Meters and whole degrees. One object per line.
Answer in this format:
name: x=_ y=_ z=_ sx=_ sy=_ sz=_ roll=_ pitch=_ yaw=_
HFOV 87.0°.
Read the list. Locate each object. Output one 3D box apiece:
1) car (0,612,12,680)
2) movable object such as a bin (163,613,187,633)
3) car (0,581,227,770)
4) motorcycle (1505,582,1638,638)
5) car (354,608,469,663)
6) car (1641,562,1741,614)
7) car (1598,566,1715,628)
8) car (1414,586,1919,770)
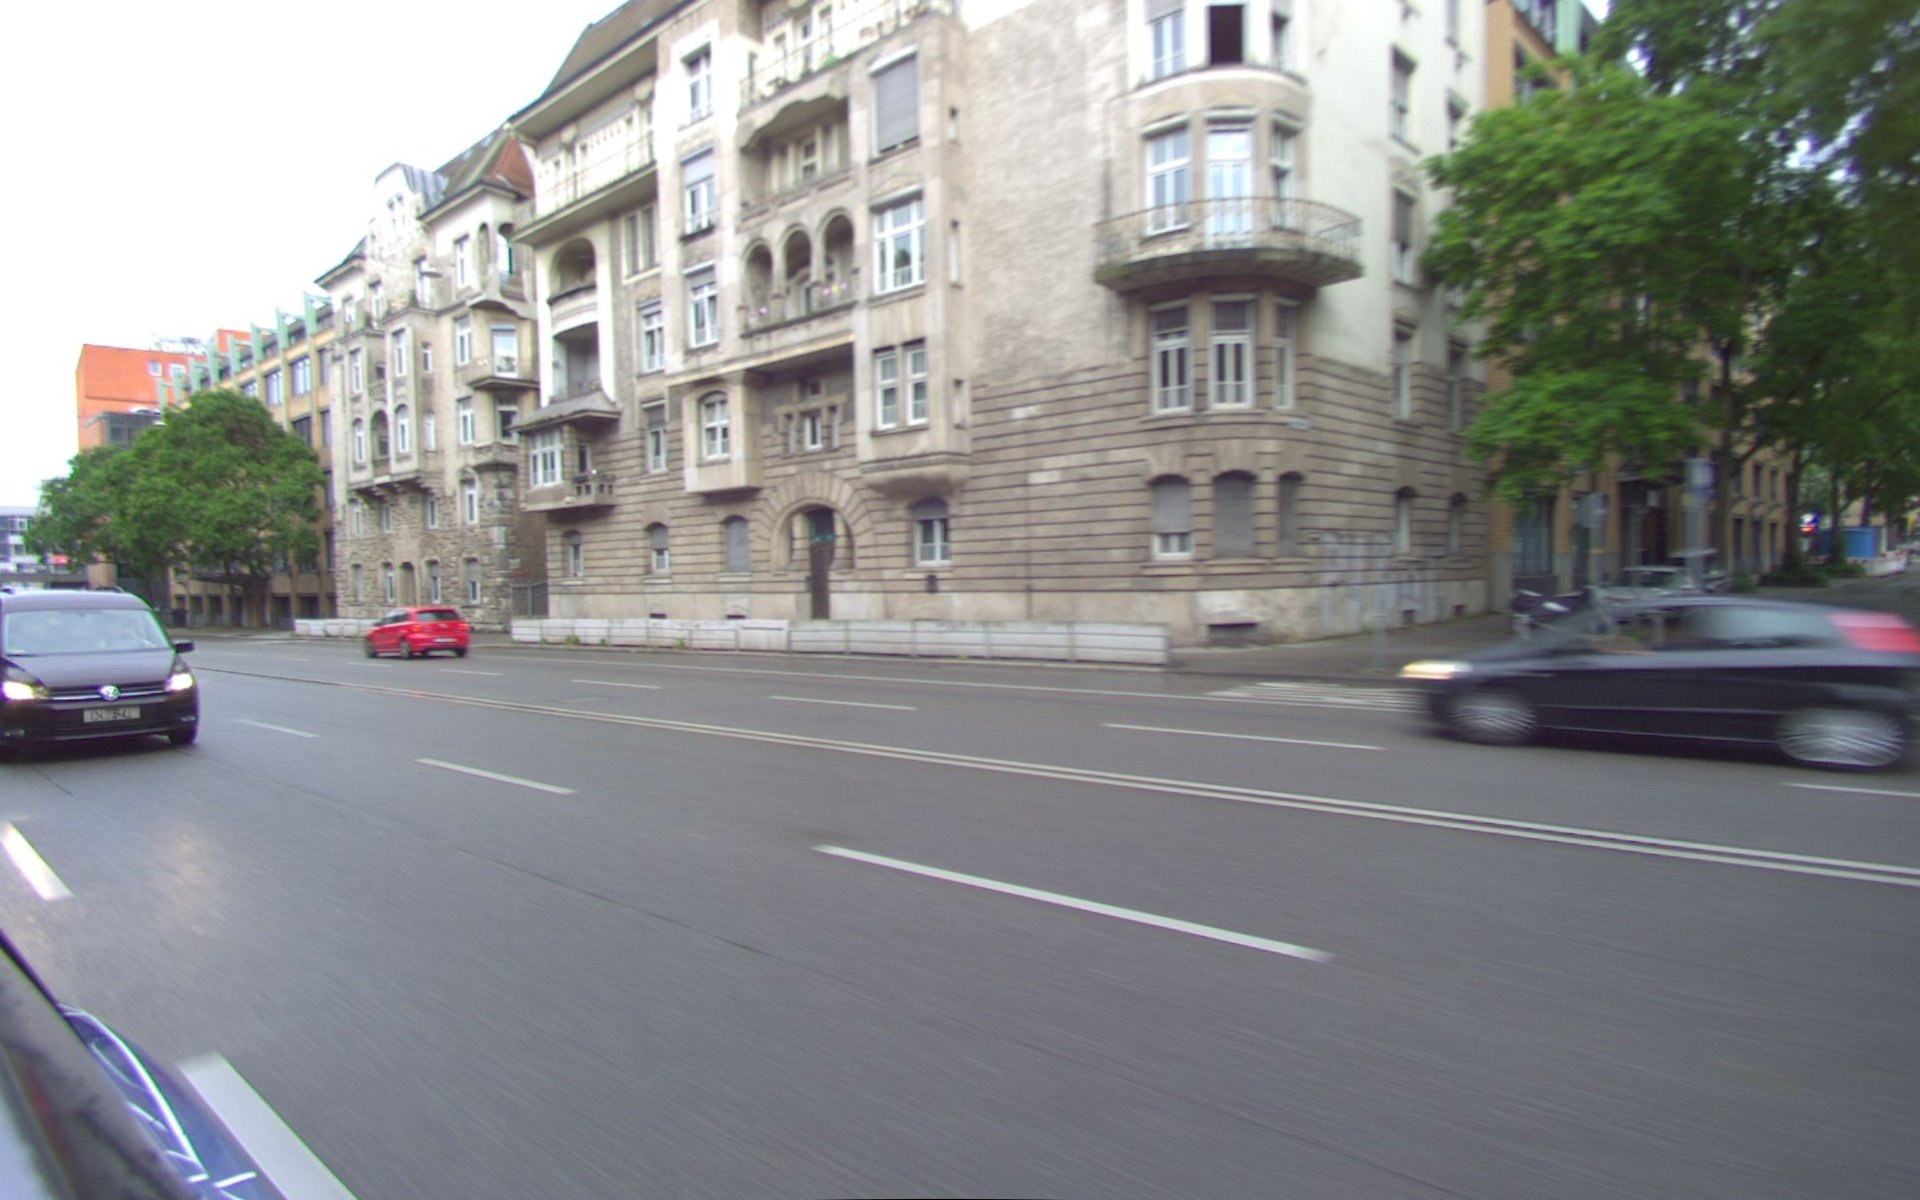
car: x=-25.285 y=1.180 z=25.324 sx=3.996 sy=1.625 sz=1.710 roll=-1 pitch=2 yaw=39
movable object such as a bin: x=-59.578 y=1.738 z=76.807 sx=1.369 sy=1.446 sz=1.059 roll=-2 pitch=2 yaw=35
car: x=-10.176 y=0.763 z=11.627 sx=3.995 sy=1.804 sz=1.820 roll=-2 pitch=-1 yaw=38
motorcycle: x=13.123 y=0.222 z=21.781 sx=2.393 sy=1.150 sz=0.498 roll=-1 pitch=1 yaw=43
car: x=-15.708 y=0.992 z=28.896 sx=3.959 sy=1.424 sz=1.564 roll=-1 pitch=0 yaw=41
car: x=21.497 y=-0.379 z=29.707 sx=3.941 sy=1.371 sz=1.696 roll=-3 pitch=1 yaw=-44
car: x=17.594 y=-0.100 z=25.503 sx=3.941 sy=1.371 sz=1.696 roll=-3 pitch=1 yaw=-44
car: x=6.428 y=0.599 z=9.179 sx=3.911 sy=1.349 sz=1.684 roll=-1 pitch=0 yaw=40
